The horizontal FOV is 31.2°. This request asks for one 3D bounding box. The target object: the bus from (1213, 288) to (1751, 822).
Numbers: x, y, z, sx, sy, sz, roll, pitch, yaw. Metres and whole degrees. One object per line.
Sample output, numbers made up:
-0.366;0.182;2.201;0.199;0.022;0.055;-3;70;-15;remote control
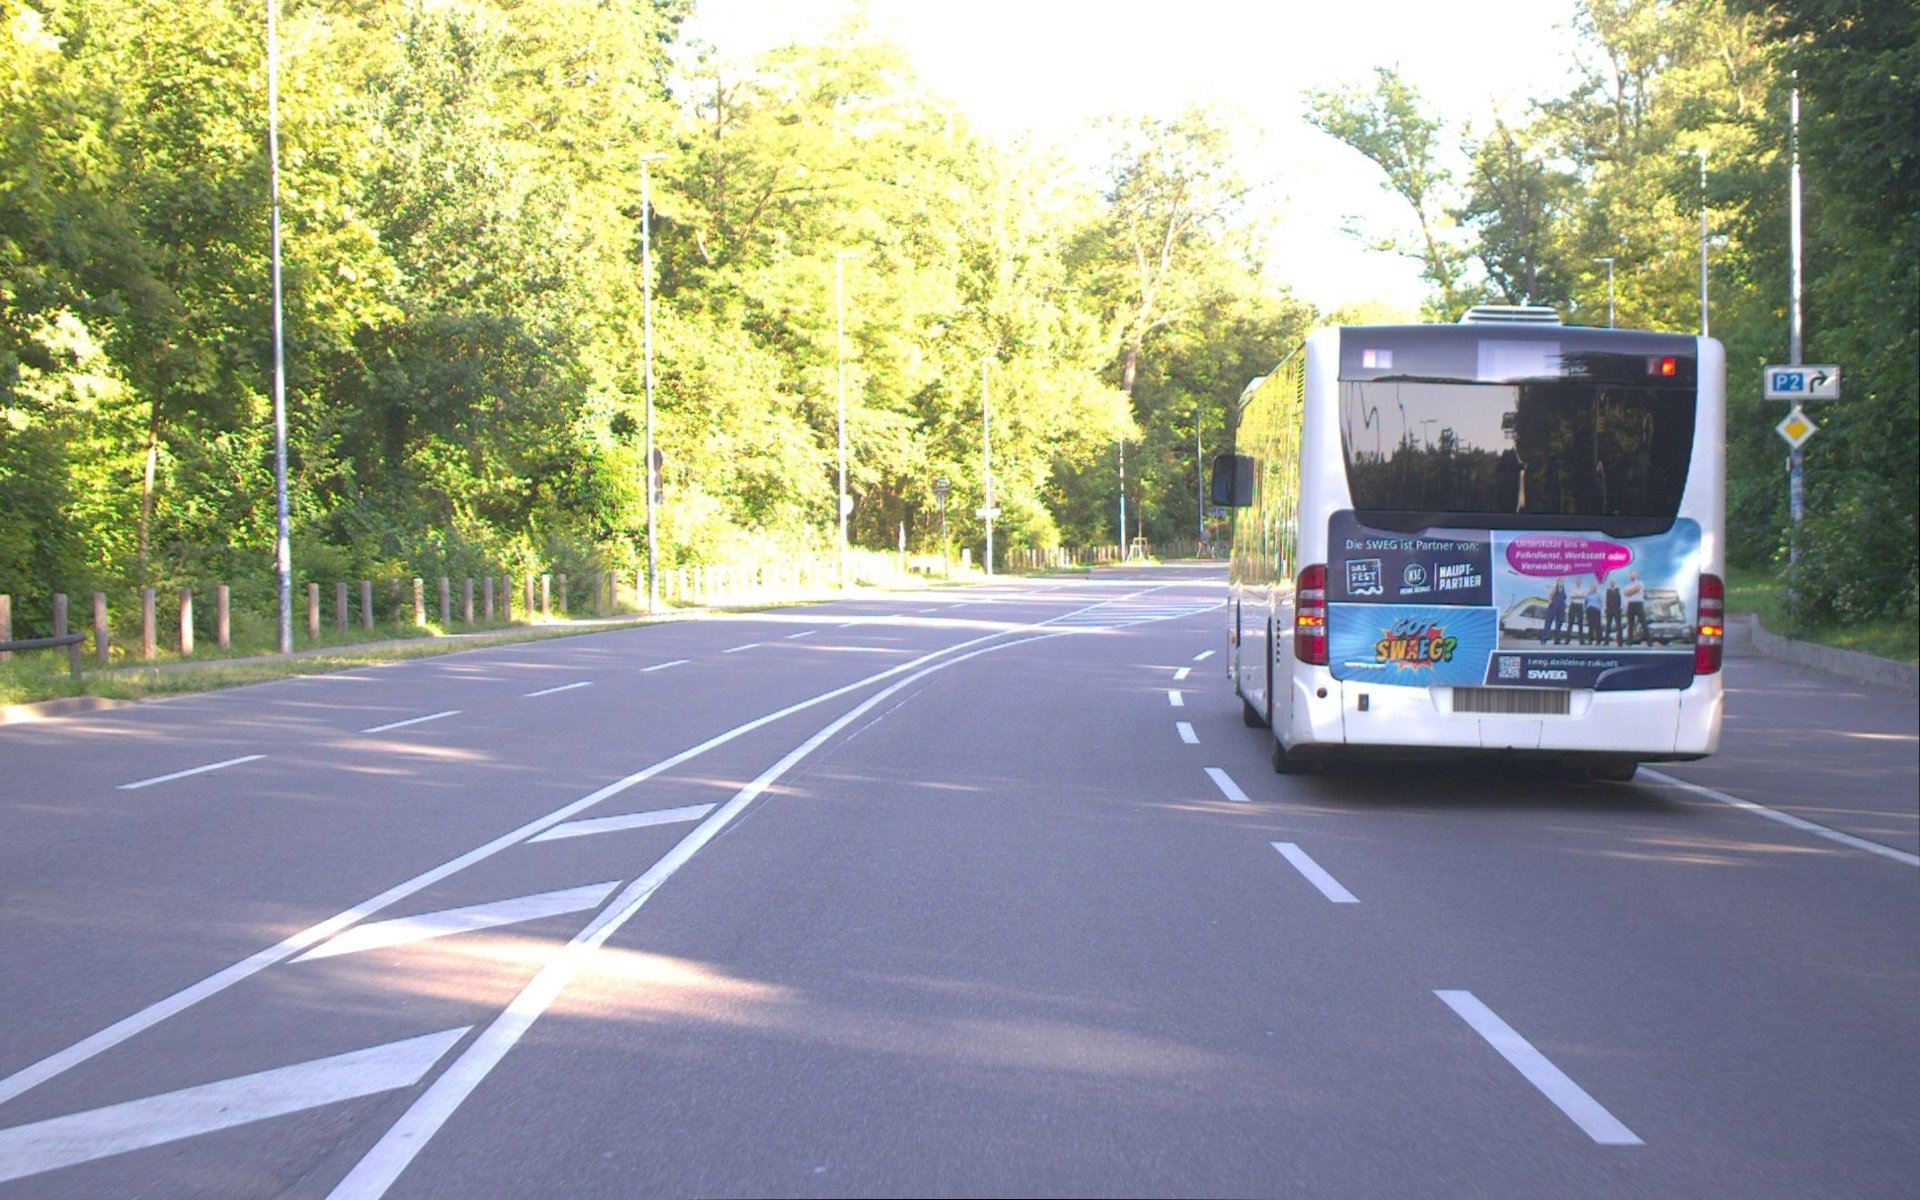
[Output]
3.433;-0.336;25.769;2.690;3.032;12.040;1;1;3;bus
